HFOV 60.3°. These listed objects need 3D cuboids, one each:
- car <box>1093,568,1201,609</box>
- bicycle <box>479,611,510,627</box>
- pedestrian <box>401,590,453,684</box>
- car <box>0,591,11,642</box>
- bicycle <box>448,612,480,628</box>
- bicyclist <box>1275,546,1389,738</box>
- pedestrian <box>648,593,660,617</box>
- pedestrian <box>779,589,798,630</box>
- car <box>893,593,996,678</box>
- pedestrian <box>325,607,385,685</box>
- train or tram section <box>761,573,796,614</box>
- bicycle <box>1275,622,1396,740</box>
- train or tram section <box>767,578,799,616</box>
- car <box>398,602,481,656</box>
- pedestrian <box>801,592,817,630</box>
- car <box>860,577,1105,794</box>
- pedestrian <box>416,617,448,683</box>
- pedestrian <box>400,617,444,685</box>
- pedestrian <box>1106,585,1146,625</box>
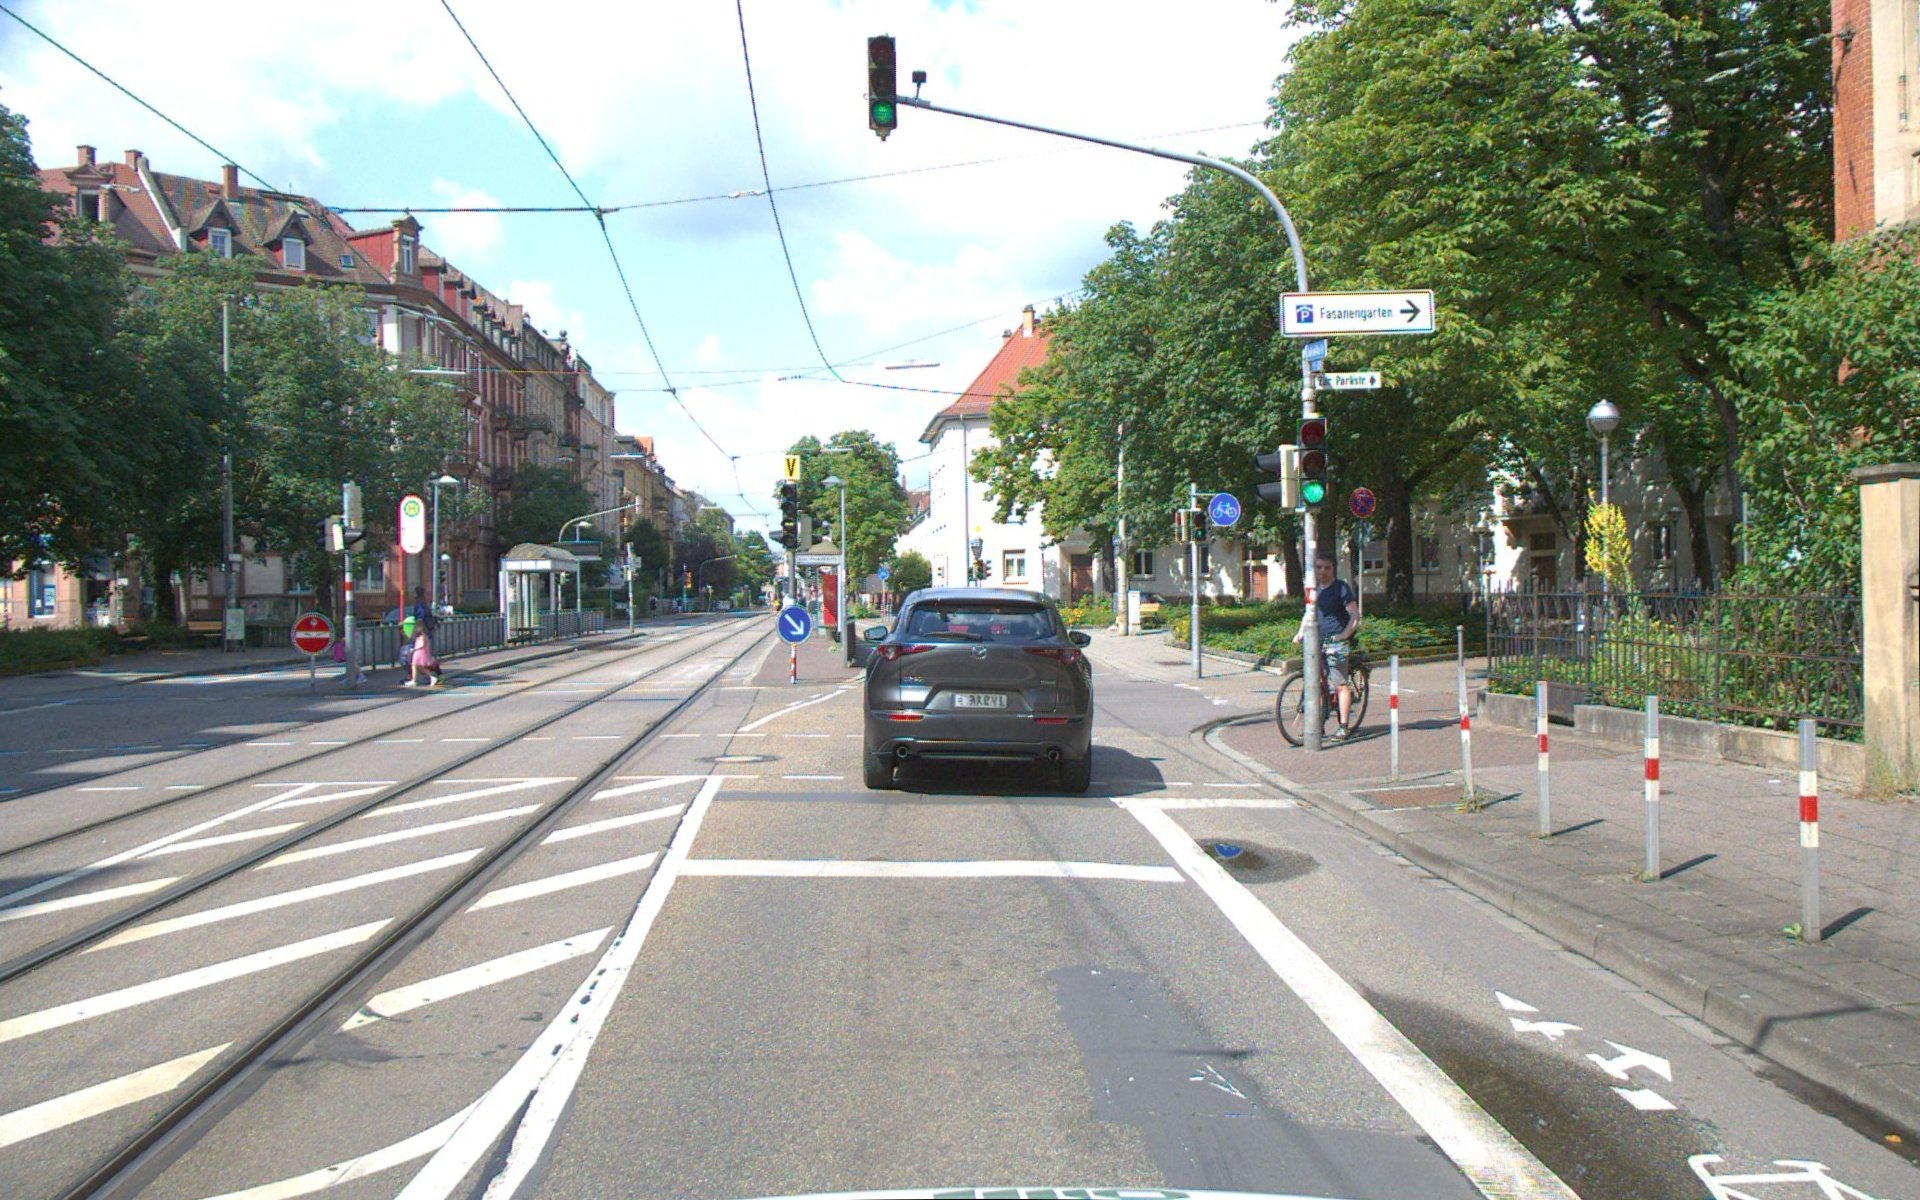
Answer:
[{"bbox_3d":[7.726,-0.470,68.512,4.090,1.536,1.844,-1,2,37],"label":"car"},{"bbox_3d":[-23.432,0.931,83.306,0.378,0.760,1.707,-1,0,31],"label":"bicycle"},{"bbox_3d":[-9.291,0.630,28.837,0.714,1.593,0.797,-1,0,-10],"label":"pedestrian"},{"bbox_3d":[-40.278,0.695,66.196,3.852,2.023,1.857,-1,0,19],"label":"car"},{"bbox_3d":[-24.446,0.985,81.584,0.378,0.760,1.707,-1,0,31],"label":"bicycle"},{"bbox_3d":[3.700,0.402,16.476,0.724,1.851,0.813,-1,0,-27],"label":"bicyclist"},{"bbox_3d":[-22.557,0.371,121.807,0.772,1.718,0.731,-1,0,-4],"label":"pedestrian"},{"bbox_3d":[-7.223,0.387,69.775,0.756,1.704,0.667,-1,0,-6],"label":"pedestrian"},{"bbox_3d":[-0.344,0.620,30.903,1.740,1.489,3.840,0,0,-3],"label":"car"},{"bbox_3d":[-10.687,0.803,29.250,0.810,1.326,0.716,-3,0,-10],"label":"pedestrian"},{"bbox_3d":[-18.909,-0.586,173.011,2.938,4.053,13.796,-1,-1,-4],"label":"train or tram section"},{"bbox_3d":[3.790,0.782,16.601,0.382,1.053,1.836,-1,1,39],"label":"bicycle"},{"bbox_3d":[-19.908,-0.287,186.822,2.938,4.053,13.796,-1,-1,-4],"label":"train or tram section"},{"bbox_3d":[-15.043,0.808,47.977,1.593,1.411,3.431,-2,0,-6],"label":"car"},{"bbox_3d":[-6.275,0.465,68.790,0.654,1.573,0.580,-1,0,-6],"label":"pedestrian"},{"bbox_3d":[0.136,0.625,13.928,1.746,1.540,3.999,1,0,-1],"label":"car"},{"bbox_3d":[-9.389,0.889,29.428,0.429,1.127,0.422,-3,0,-10],"label":"pedestrian"},{"bbox_3d":[-9.170,0.866,28.217,0.629,1.133,0.443,-1,0,-10],"label":"pedestrian"},{"bbox_3d":[5.559,0.166,55.393,1.170,1.291,0.556,-3,0,-10],"label":"pedestrian"}]
